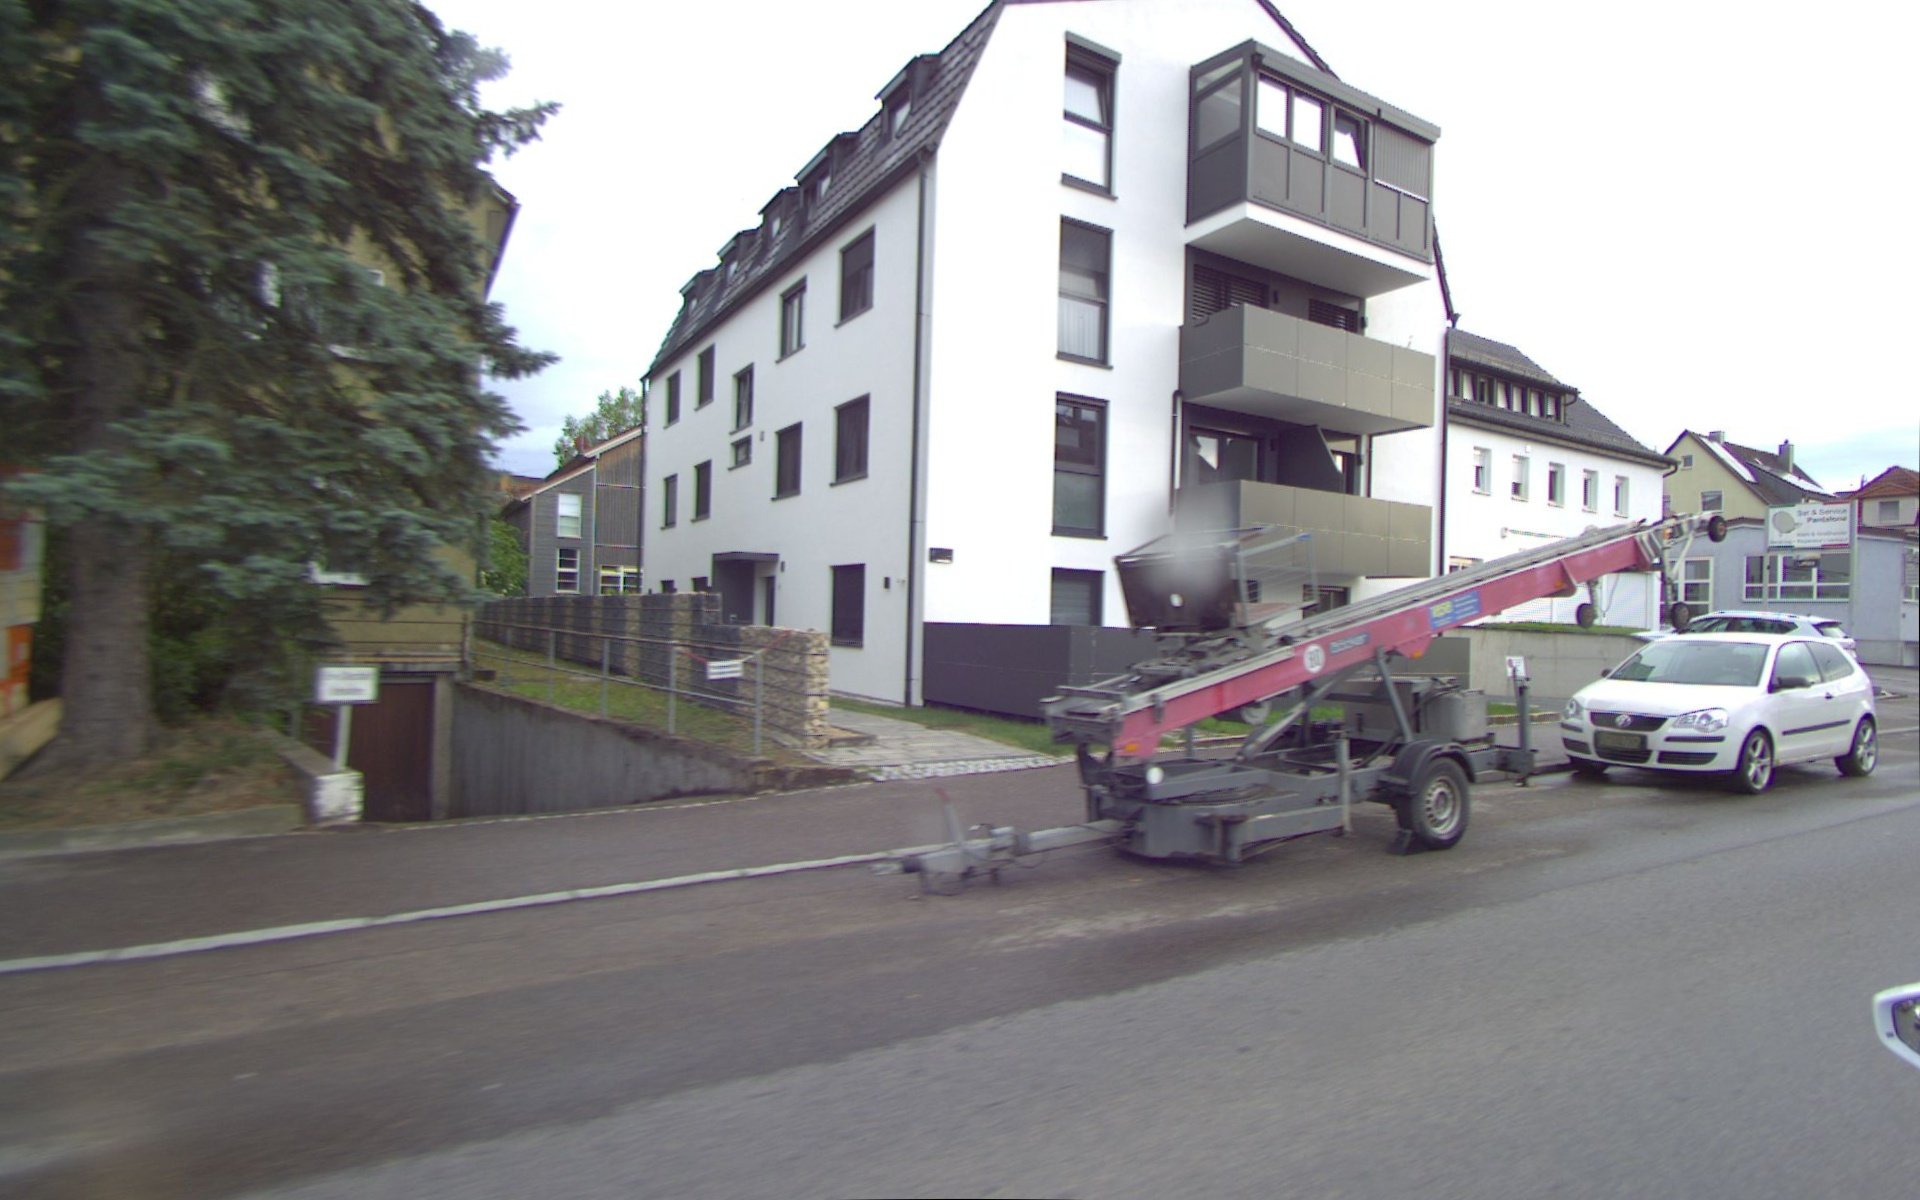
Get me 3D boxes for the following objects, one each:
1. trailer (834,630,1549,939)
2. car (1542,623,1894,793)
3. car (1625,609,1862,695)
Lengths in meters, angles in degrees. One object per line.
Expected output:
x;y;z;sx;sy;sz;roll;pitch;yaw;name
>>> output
1.839;0.957;6.971;5.186;1.277;1.707;-1;2;-32;trailer
8.071;1.026;10.621;3.953;1.452;1.549;2;1;-30;car
17.028;1.065;22.008;1.636;1.589;3.740;2;1;-31;car
